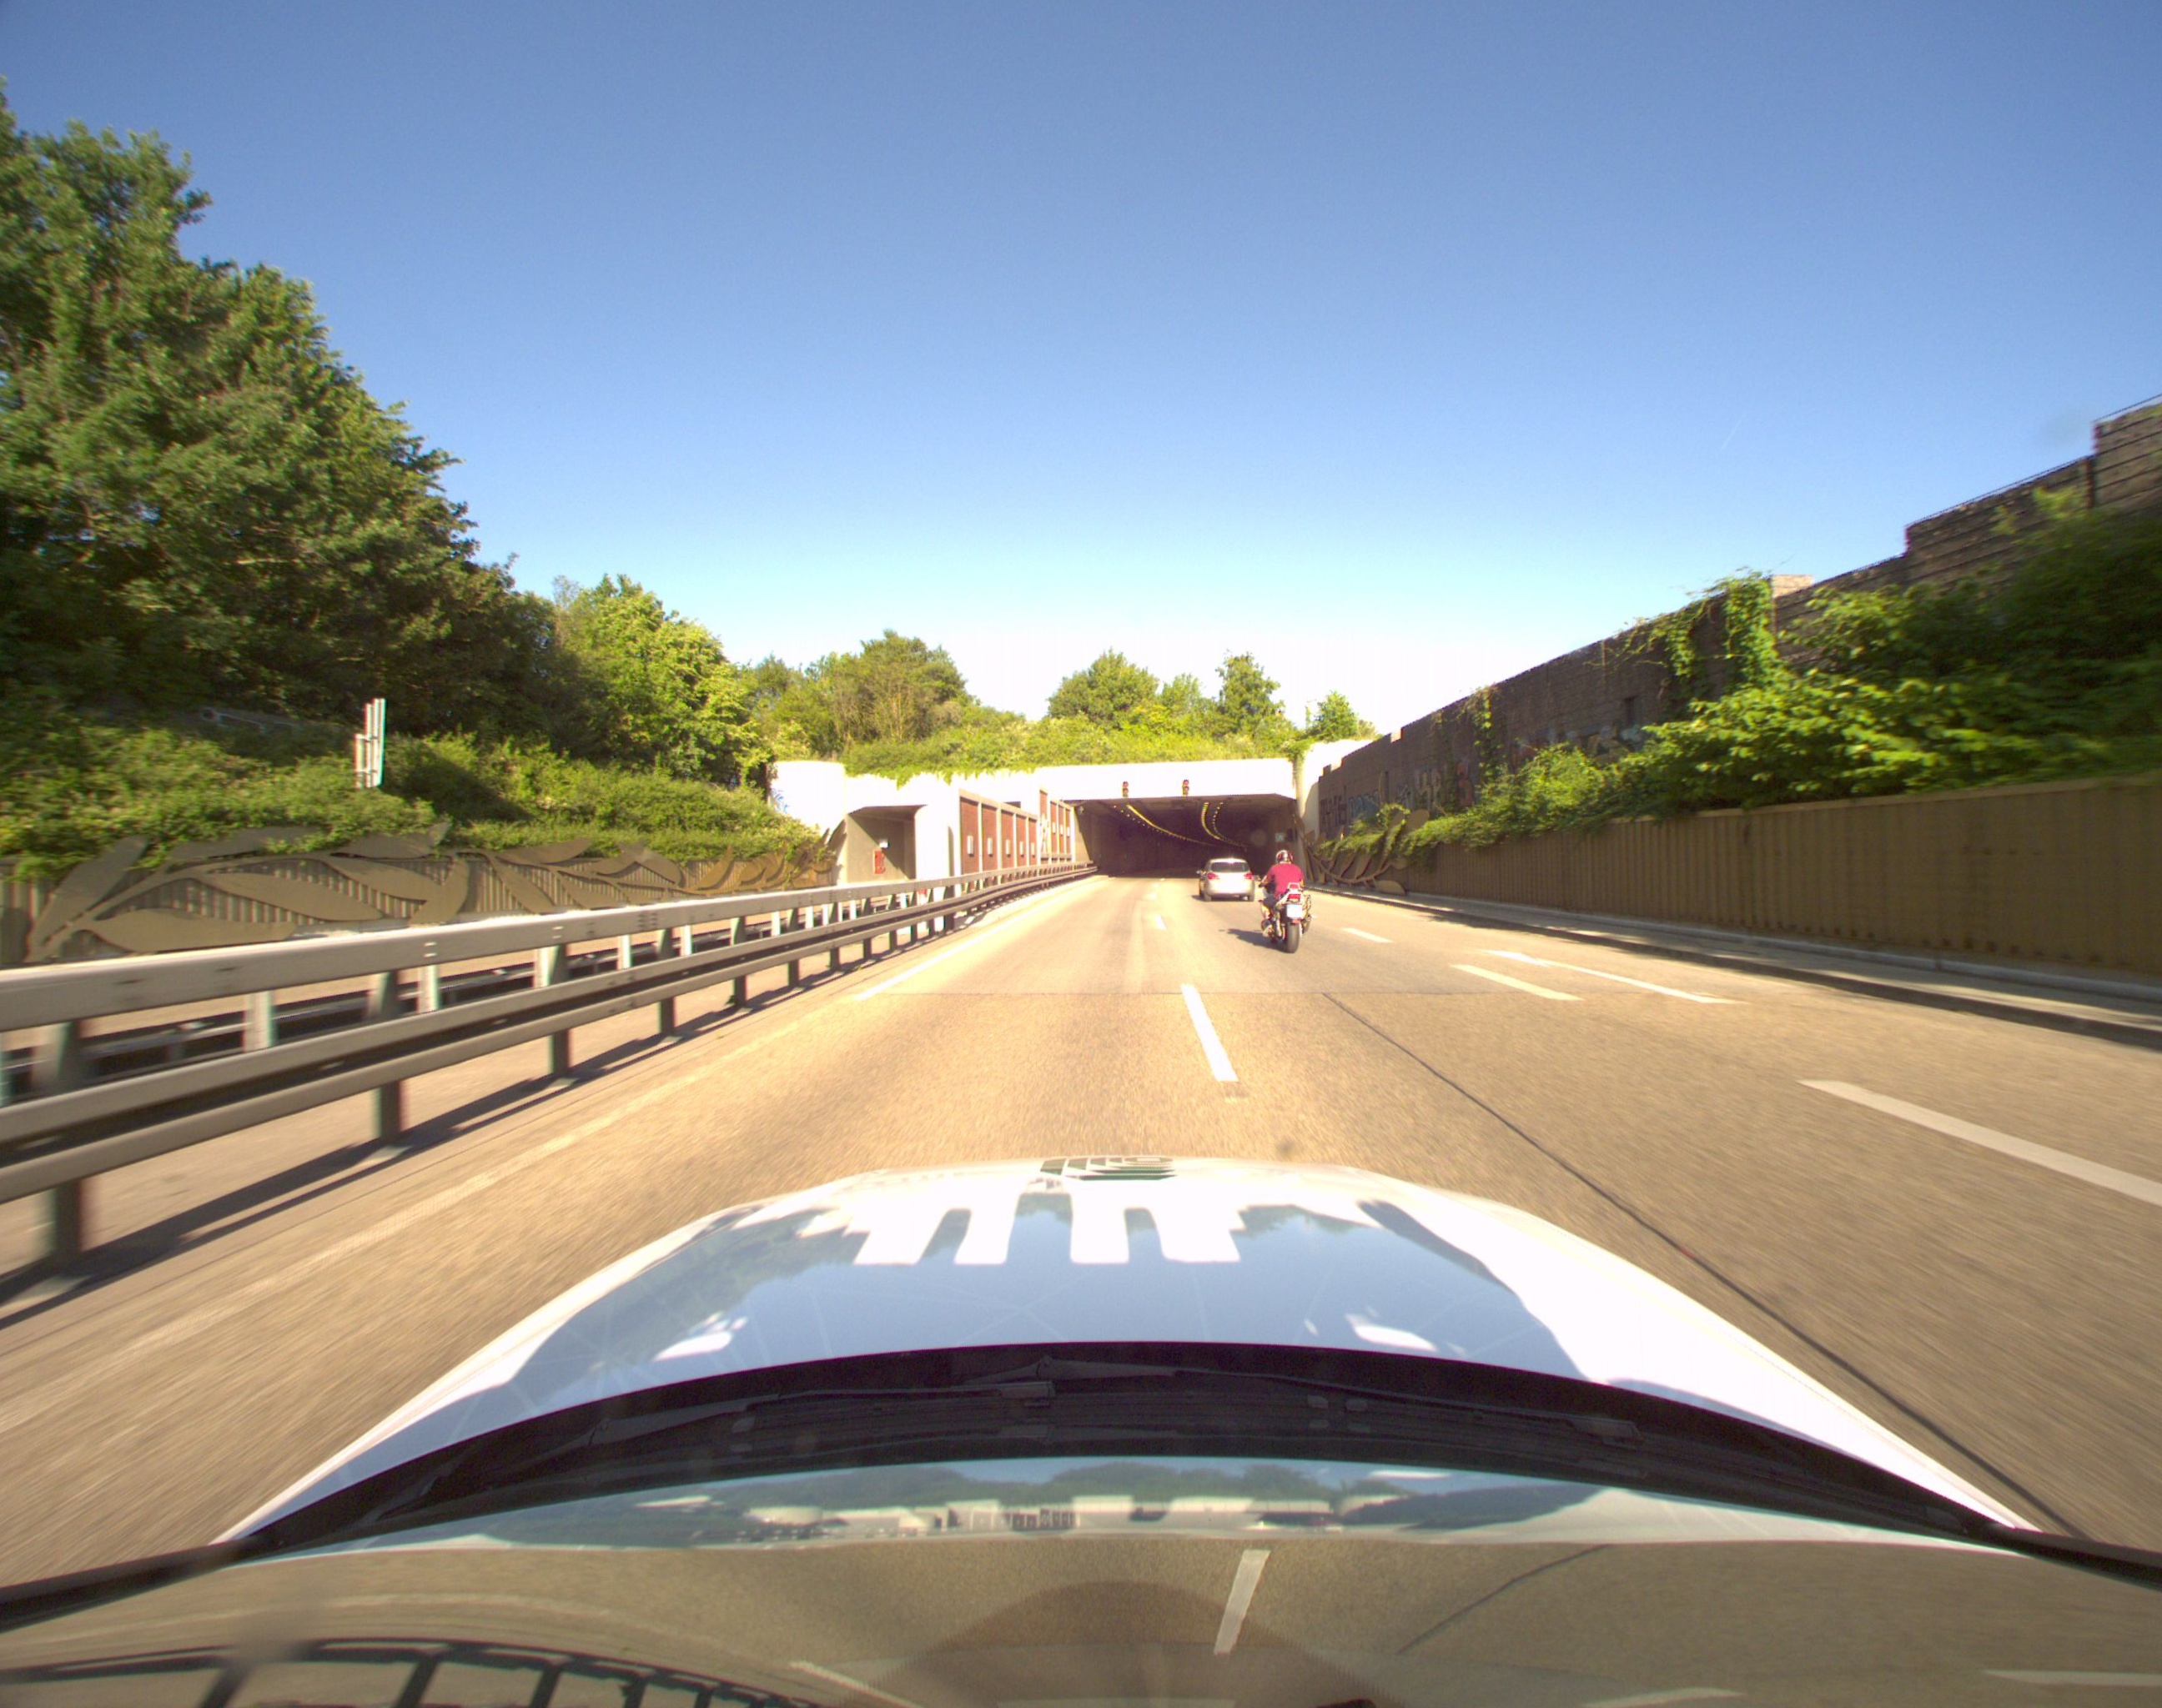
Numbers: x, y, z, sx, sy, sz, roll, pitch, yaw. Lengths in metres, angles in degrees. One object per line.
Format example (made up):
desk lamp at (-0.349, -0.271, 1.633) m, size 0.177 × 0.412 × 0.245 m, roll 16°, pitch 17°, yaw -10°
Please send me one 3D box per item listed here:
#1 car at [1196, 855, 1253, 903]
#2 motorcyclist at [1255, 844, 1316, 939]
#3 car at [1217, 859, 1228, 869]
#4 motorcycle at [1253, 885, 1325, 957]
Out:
car at (5.049, 0.828, 29.052) m, size 1.659 × 1.552 × 4.006 m, roll 1°, pitch 0°, yaw 5°
motorcyclist at (3.368, 0.585, 13.512) m, size 0.878 × 1.501 × 1.065 m, roll 1°, pitch 0°, yaw 8°
car at (29.234, 2.075, 168.157) m, size 1.979 × 1.925 × 4.016 m, roll -1°, pitch 0°, yaw 14°
motorcycle at (3.377, 1.044, 13.494) m, size 0.854 × 0.991 × 2.734 m, roll 0°, pitch -1°, yaw 8°
